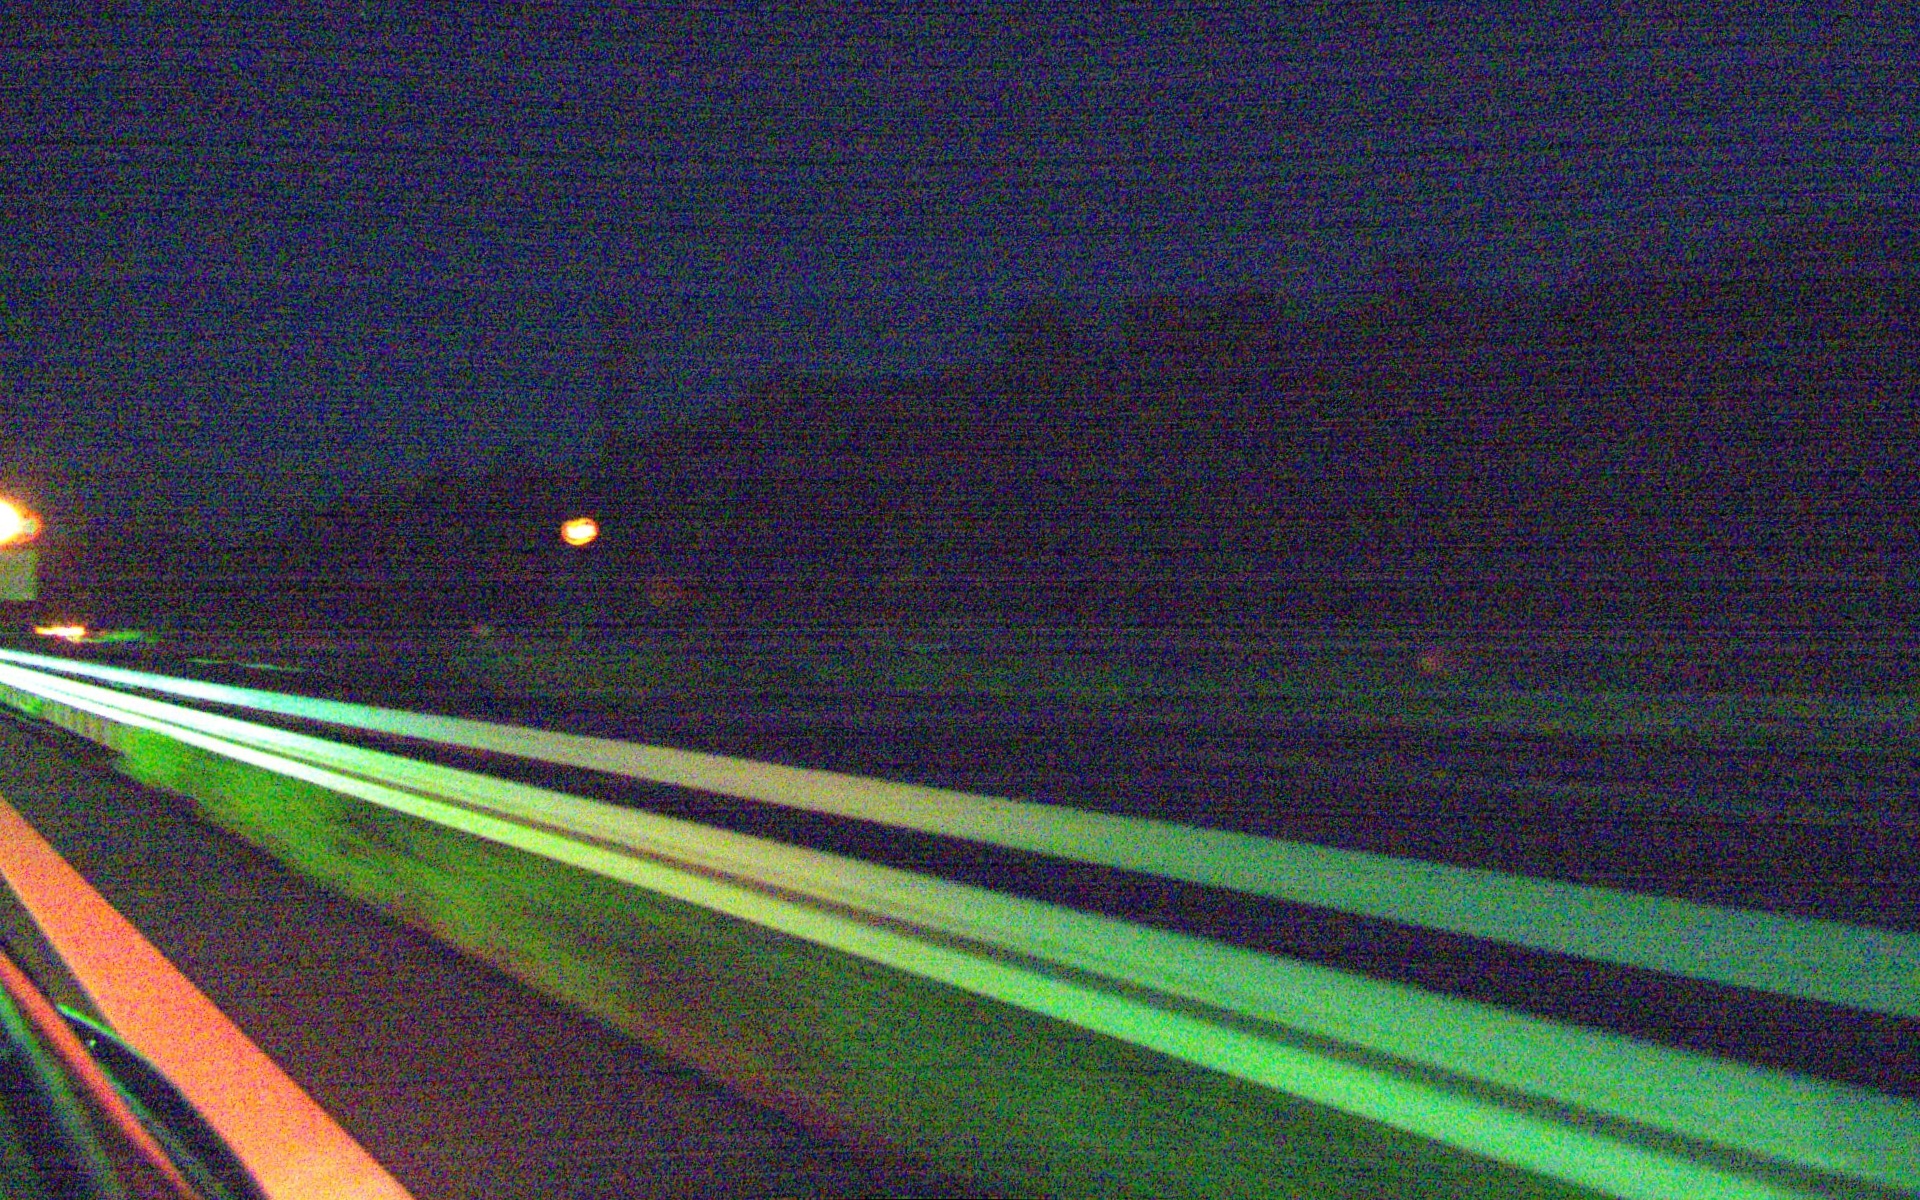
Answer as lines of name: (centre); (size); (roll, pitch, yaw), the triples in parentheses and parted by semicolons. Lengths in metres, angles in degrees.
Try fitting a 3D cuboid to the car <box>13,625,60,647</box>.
car: (-69.648, 2.703, 76.322); (5.002, 1.563, 1.973); (-1, -5, 41)
